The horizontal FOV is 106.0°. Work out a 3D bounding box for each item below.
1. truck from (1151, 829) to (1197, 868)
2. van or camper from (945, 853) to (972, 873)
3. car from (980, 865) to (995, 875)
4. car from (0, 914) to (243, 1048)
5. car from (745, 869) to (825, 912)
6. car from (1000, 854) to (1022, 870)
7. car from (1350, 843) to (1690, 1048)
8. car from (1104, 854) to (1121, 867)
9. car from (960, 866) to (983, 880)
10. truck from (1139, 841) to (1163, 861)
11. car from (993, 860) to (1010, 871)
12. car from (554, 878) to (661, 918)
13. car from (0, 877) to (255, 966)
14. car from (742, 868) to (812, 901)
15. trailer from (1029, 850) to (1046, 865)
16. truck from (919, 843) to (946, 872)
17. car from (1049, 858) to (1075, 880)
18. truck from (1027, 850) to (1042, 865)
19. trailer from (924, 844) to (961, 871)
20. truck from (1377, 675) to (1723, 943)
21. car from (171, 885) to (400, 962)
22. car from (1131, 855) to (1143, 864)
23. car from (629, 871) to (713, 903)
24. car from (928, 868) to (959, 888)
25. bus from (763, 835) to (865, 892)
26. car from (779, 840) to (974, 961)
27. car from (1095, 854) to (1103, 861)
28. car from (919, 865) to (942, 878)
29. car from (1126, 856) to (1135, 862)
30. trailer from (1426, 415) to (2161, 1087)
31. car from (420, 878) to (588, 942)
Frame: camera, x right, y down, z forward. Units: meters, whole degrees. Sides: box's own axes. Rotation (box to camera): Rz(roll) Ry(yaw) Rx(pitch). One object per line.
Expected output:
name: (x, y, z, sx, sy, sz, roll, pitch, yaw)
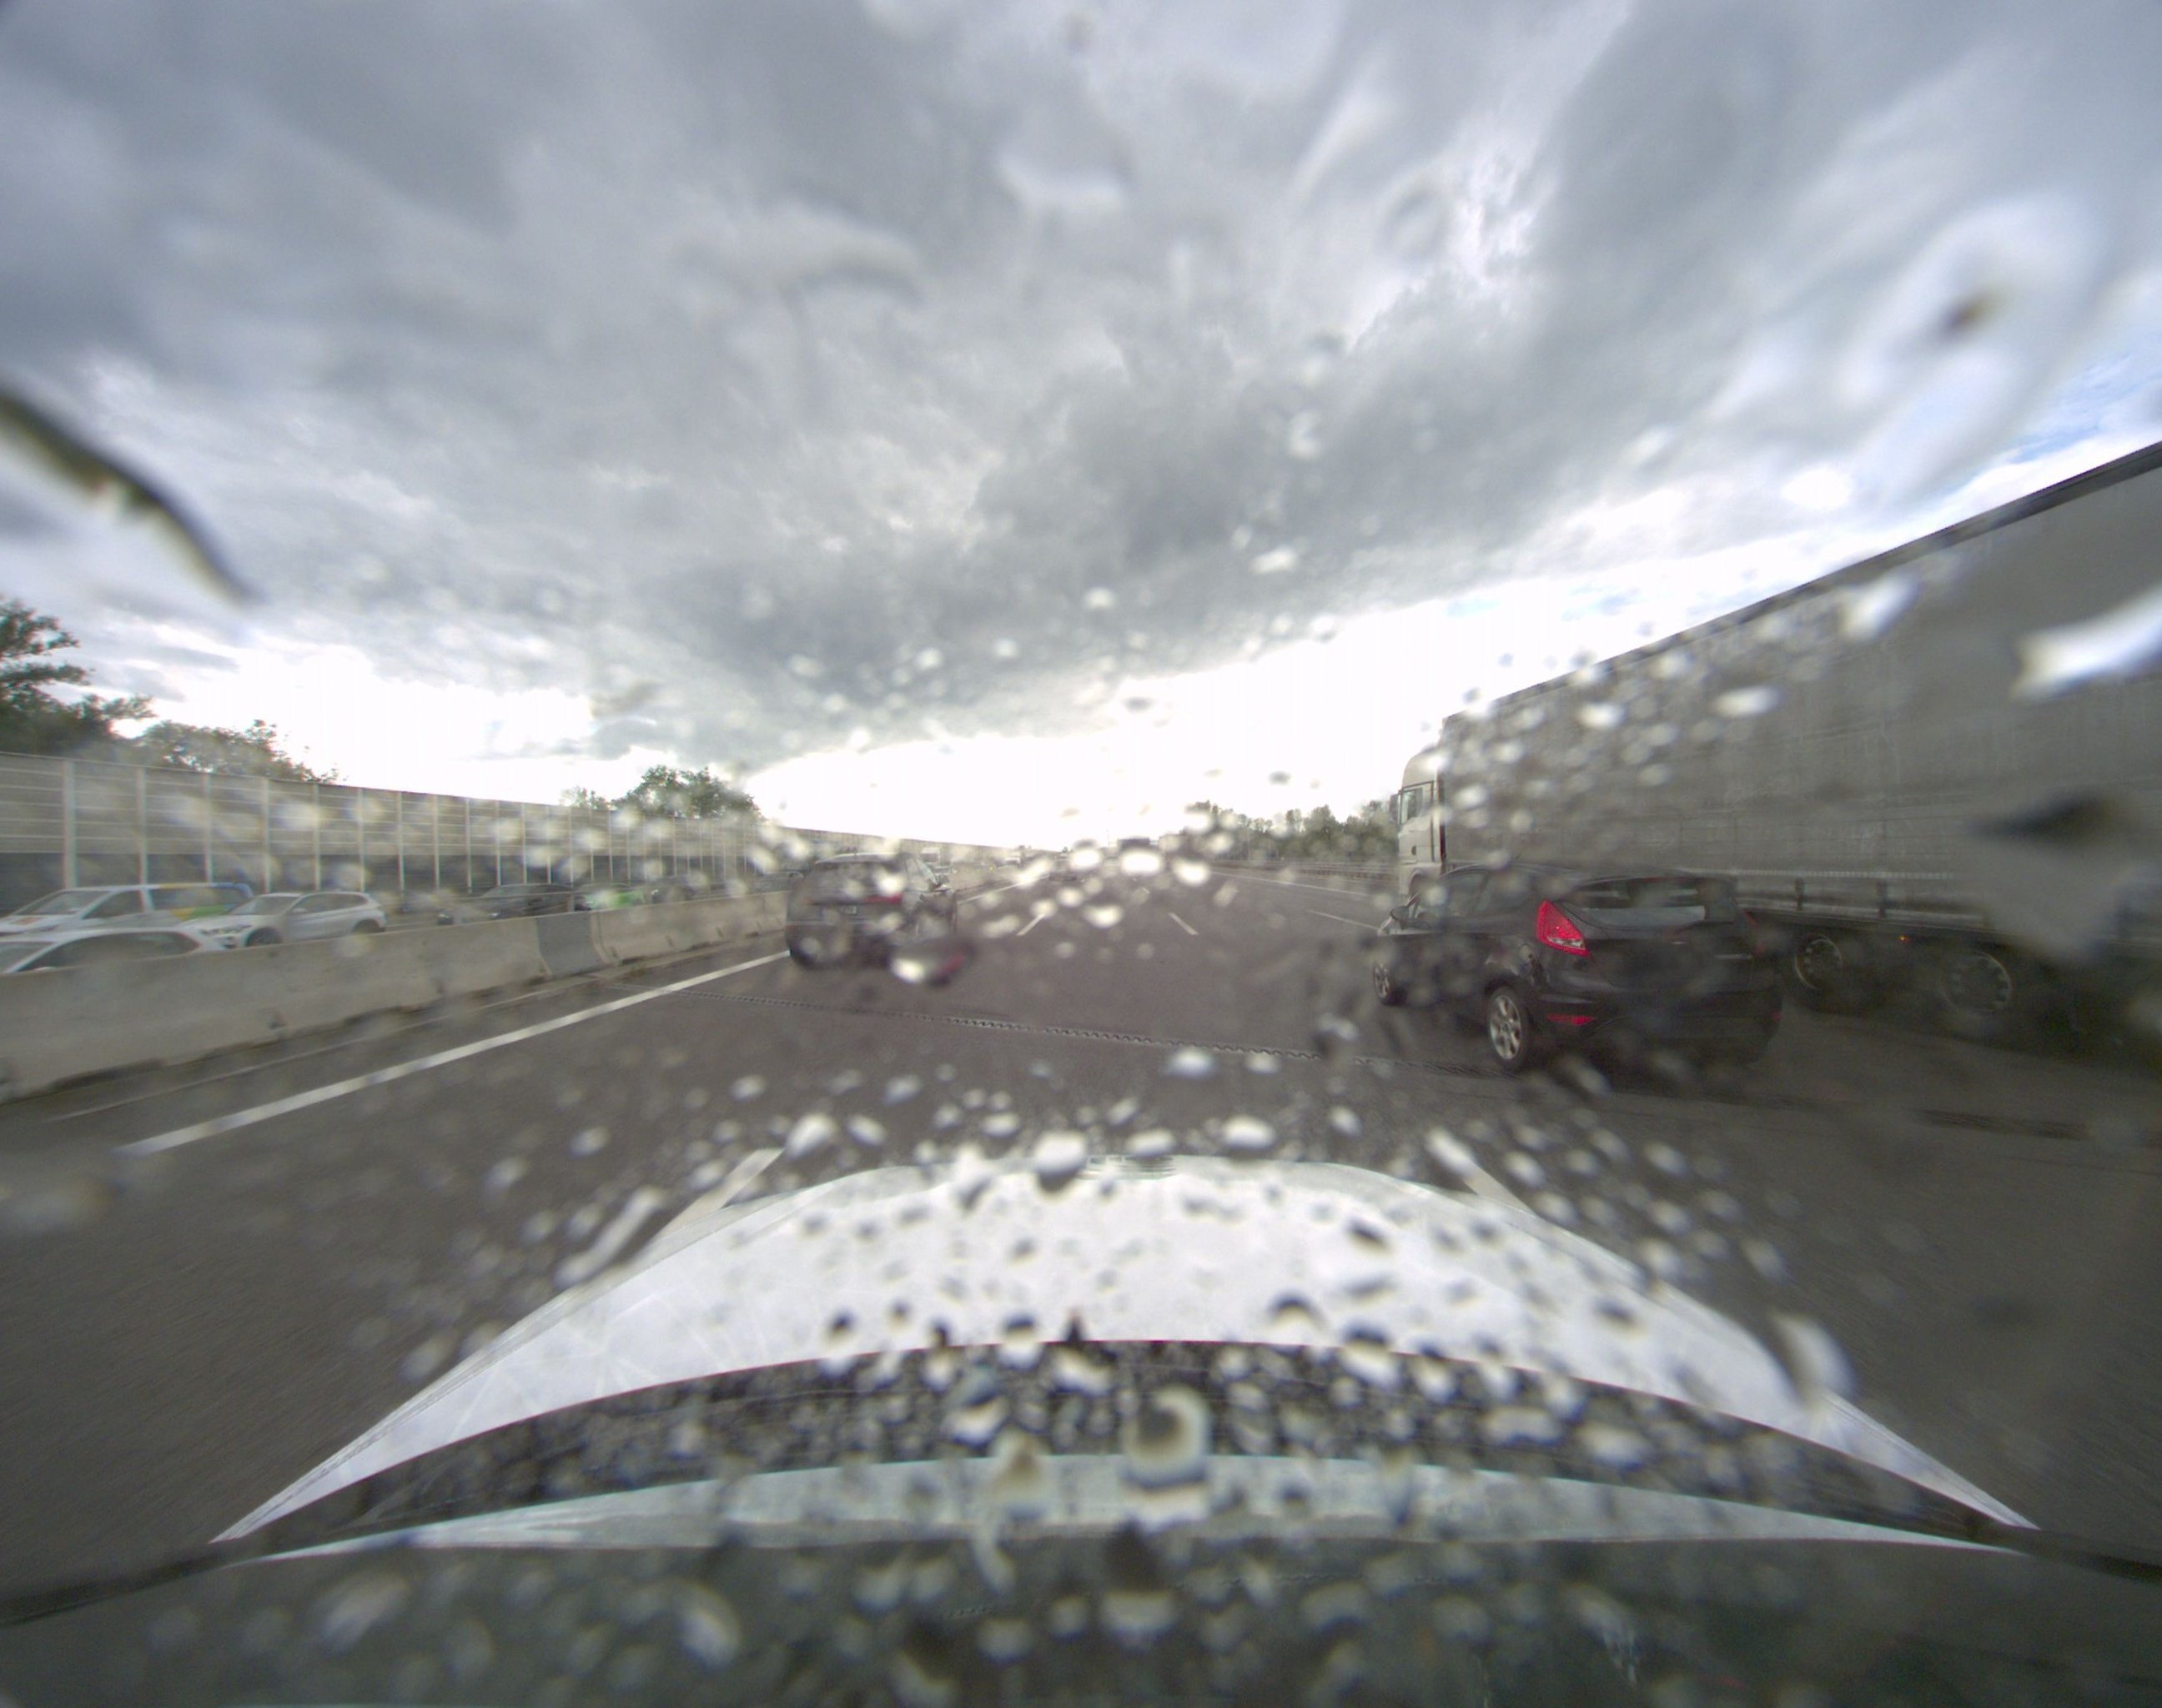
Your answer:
truck: (10.743, -0.595, 95.980, 4.166, 4.288, 12.613, 0, 0, 1)
van or camper: (-17.123, 1.241, 114.061, 2.335, 2.641, 7.153, -2, 0, 2)
car: (-16.157, 2.754, 140.621, 1.916, 1.599, 4.255, -2, 0, 2)
car: (-13.644, 1.635, 10.636, 1.565, 1.394, 3.577, -2, 0, 2)
car: (-12.691, 1.525, 35.166, 1.740, 1.608, 4.180, -2, 0, 2)
car: (-9.811, 1.121, 114.524, 2.151, 2.071, 6.018, -2, 0, 2)
car: (3.670, 0.655, 7.429, 1.442, 1.441, 3.164, -1, 0, 1)
car: (3.665, 0.723, 95.809, 1.767, 1.441, 4.054, -1, 0, -1)
car: (-14.079, 2.464, 105.245, 2.071, 1.659, 4.804, -2, 0, 2)
truck: (14.779, -0.579, 172.682, 4.229, 4.176, 11.991, 0, 0, 1)
car: (-12.739, 1.782, 130.456, 1.916, 1.599, 5.099, -2, 0, 2)
car: (-20.240, 1.851, 35.068, 1.741, 1.430, 4.716, -2, 0, 0)
car: (-24.761, 1.623, 21.084, 1.741, 1.893, 4.783, -2, 0, 1)
car: (-16.349, 1.597, 44.101, 1.740, 1.525, 4.930, -2, 0, 2)
trailer: (-11.599, 0.930, 218.646, 3.067, 3.935, 14.991, 0, 0, 2)
truck: (-20.896, 0.496, 114.774, 2.566, 3.935, 5.180, 0, 0, 2)
car: (-1.285, 1.016, 56.993, 1.755, 1.369, 5.058, -1, 0, -1)
truck: (-11.933, 0.935, 210.842, 3.067, 3.935, 8.058, 0, 0, 2)
trailer: (-20.561, 0.490, 121.944, 2.553, 3.935, 13.824, 0, 0, 3)
truck: (8.291, -0.701, 15.615, 2.950, 4.020, 6.591, -1, 0, 1)
car: (-20.520, 1.728, 21.312, 1.740, 1.611, 4.180, -2, 0, 2)
car: (9.664, 0.873, 139.935, 1.829, 1.441, 4.056, -1, 0, 1)
car: (-23.616, 1.861, 47.230, 1.740, 1.611, 5.691, -2, 0, 2)
car: (-11.551, 1.964, 68.709, 1.740, 1.525, 4.180, -2, 0, 2)
bus: (-19.555, 0.654, 60.726, 3.080, 3.758, 11.888, -2, 0, 2)
car: (-3.258, 0.675, 14.195, 1.901, 1.691, 5.170, -1, 0, 2)
car: (3.997, 0.780, 183.769, 1.767, 1.441, 3.873, -1, 0, 0)
car: (-18.105, 2.088, 98.086, 1.740, 1.525, 4.180, -2, 0, 2)
car: (12.071, 1.211, 199.272, 1.829, 1.441, 4.056, -1, 0, 1)
trailer: (8.062, -0.653, 8.859, 2.950, 4.020, 14.123, -1, 0, 2)
car: (-17.276, 1.614, 24.680, 1.927, 1.611, 4.180, -2, 0, 2)
